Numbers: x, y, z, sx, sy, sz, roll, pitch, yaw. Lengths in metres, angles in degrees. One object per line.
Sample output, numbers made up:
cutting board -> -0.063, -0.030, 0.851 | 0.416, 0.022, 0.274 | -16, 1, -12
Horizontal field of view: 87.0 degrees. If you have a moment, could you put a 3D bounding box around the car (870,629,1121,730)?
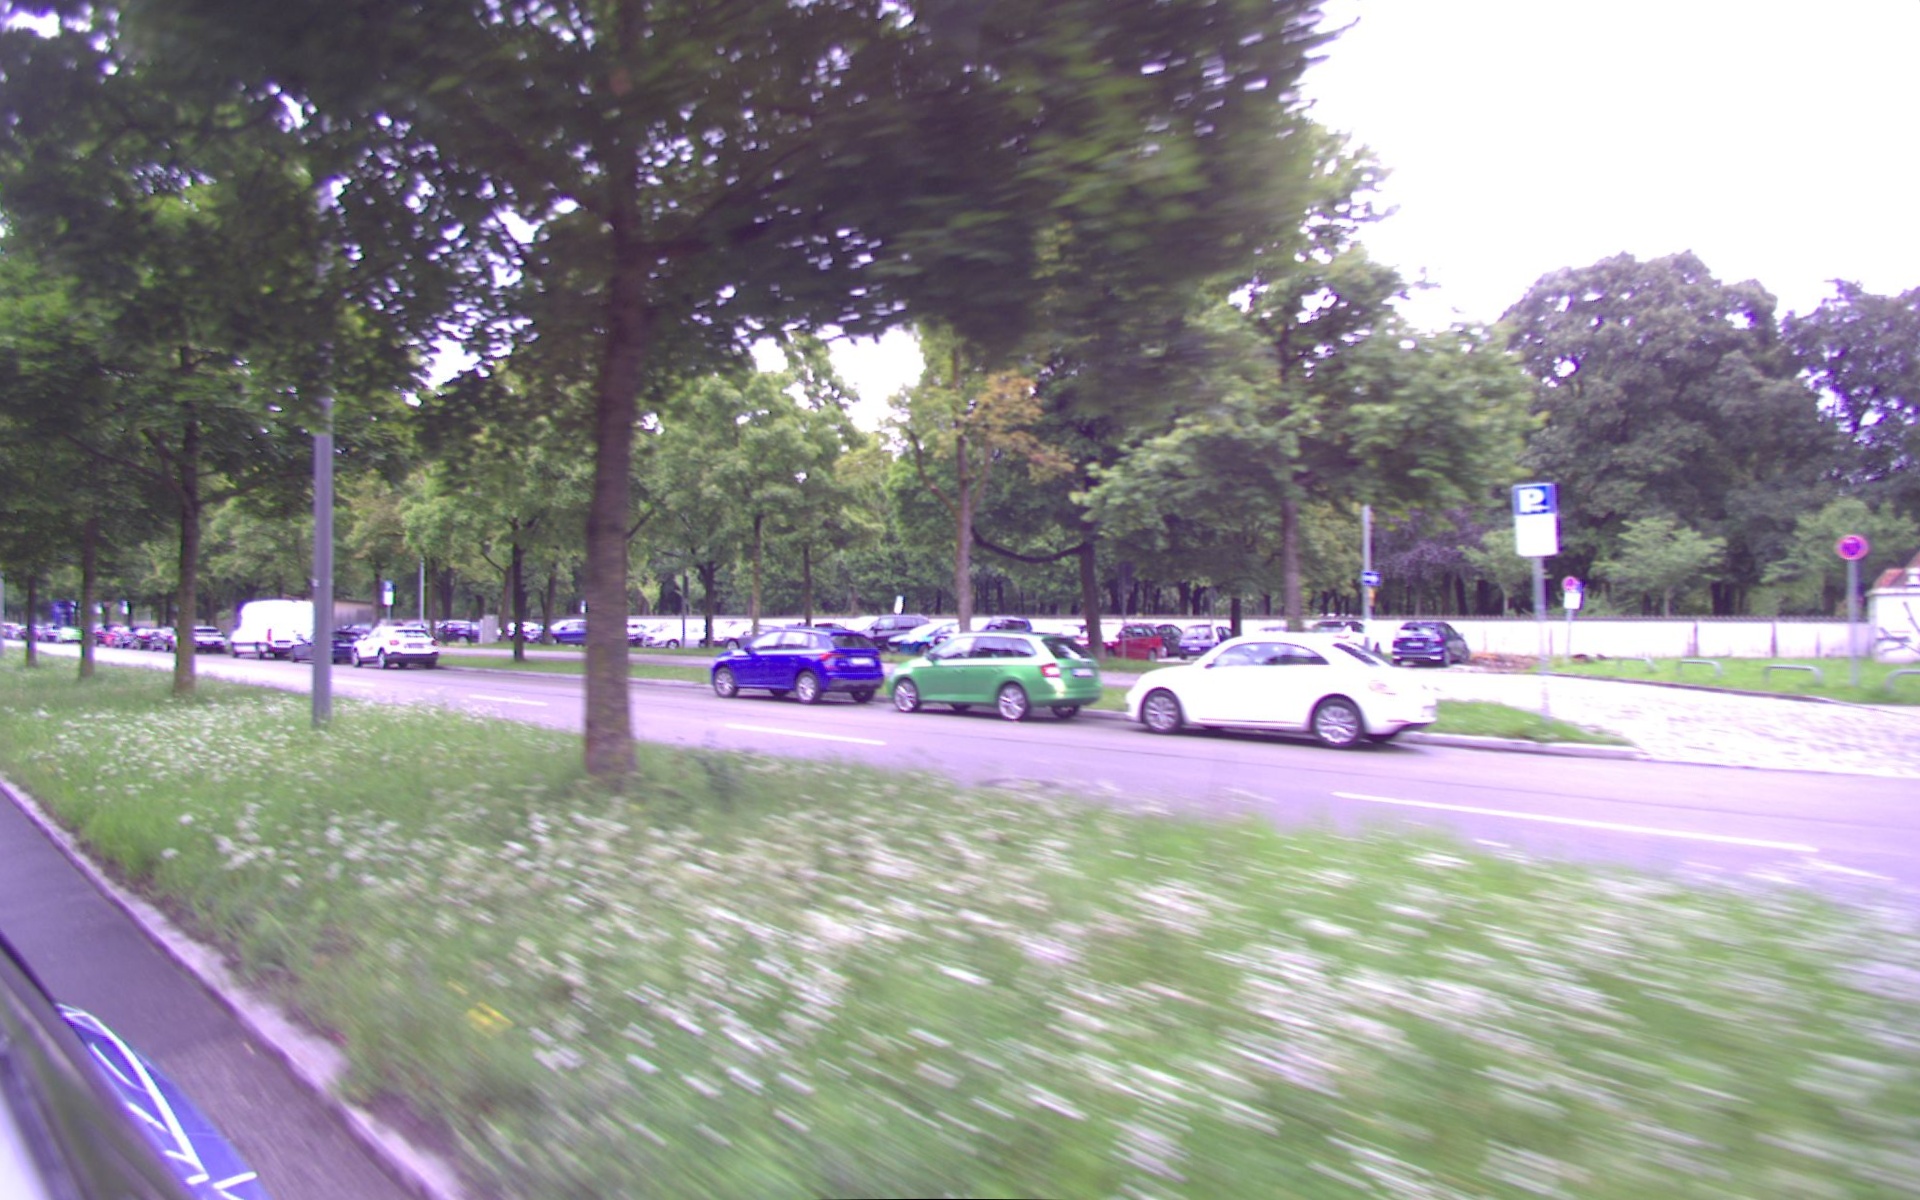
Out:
car -> 0.525, 1.321, 17.645 | 4.312, 1.549, 1.621 | -2, -5, 41

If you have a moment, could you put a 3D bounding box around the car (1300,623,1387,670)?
car -> 14.451, 1.708, 38.029 | 1.814, 1.548, 3.946 | -2, -1, 40

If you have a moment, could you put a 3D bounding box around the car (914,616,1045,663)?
car -> 0.712, 1.354, 35.085 | 4.293, 1.516, 2.004 | 1, -2, -38

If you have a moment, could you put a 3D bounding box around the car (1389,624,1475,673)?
car -> 17.001, 1.696, 36.385 | 1.814, 1.548, 3.946 | -2, -1, 40

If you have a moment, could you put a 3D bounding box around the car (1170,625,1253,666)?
car -> 10.641, 1.886, 42.669 | 1.814, 1.548, 3.946 | -2, -1, 40

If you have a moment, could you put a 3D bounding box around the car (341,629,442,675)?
car -> -20.577, 1.823, 36.584 | 4.139, 1.502, 1.838 | 0, -1, 40

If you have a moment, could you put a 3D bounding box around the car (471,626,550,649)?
car -> -26.870, 2.222, 60.616 | 1.815, 1.349, 3.942 | -2, -2, 44

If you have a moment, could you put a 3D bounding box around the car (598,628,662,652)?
car -> -23.393, 2.803, 71.783 | 3.940, 1.666, 1.771 | 2, -2, -44

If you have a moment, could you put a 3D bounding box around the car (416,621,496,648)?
car -> -30.375, 2.084, 61.105 | 1.814, 1.582, 3.943 | -2, -2, 43

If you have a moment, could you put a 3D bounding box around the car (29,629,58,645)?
car -> -86.590, 3.497, 95.593 | 3.686, 1.433, 1.632 | -2, -5, 42

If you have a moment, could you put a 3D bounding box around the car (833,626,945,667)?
car -> -2.758, 1.802, 39.674 | 3.934, 1.516, 2.005 | 1, -2, -36

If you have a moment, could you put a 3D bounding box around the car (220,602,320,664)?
car -> -32.225, 1.584, 47.132 | 7.102, 2.664, 2.117 | -2, -4, 42

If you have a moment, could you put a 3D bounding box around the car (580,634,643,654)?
car -> -25.317, 3.168, 73.600 | 3.940, 1.383, 1.879 | 2, -2, -44

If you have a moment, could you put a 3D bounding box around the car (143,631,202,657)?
car -> -46.394, 2.573, 59.593 | 3.995, 1.459, 1.804 | -2, -4, 39

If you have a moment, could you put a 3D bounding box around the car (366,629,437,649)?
car -> -38.344, 2.661, 69.555 | 1.737, 1.293, 3.951 | -1, -2, 36

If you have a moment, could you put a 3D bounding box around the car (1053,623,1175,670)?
car -> 4.956, 1.431, 32.080 | 1.758, 1.403, 4.367 | -2, -2, 41

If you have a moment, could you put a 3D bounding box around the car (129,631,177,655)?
car -> -51.099, 2.703, 64.052 | 4.001, 1.420, 1.801 | -2, -4, 44

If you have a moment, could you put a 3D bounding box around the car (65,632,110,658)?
car -> -63.275, 3.237, 73.357 | 4.236, 1.712, 1.803 | 0, -1, 40

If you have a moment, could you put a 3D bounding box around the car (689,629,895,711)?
car -> -3.573, 1.429, 21.204 | 4.310, 1.549, 1.867 | -2, -5, 40

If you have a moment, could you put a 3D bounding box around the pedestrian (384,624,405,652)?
pedestrian -> -30.773, 2.036, 55.055 | 0.856, 1.507, 0.786 | -2, -2, 42

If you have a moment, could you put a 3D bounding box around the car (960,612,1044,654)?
car -> 2.224, 1.677, 52.283 | 1.999, 2.050, 4.459 | -1, -2, 41

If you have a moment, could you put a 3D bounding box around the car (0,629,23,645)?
car -> -107.915, 4.201, 114.761 | 4.529, 1.784, 1.838 | -2, -3, 39

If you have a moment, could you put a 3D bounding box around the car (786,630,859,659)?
car -> -7.973, 2.573, 58.801 | 3.940, 1.608, 1.771 | 2, -2, -44

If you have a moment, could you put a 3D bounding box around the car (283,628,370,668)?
car -> -26.185, 1.946, 41.767 | 4.249, 1.502, 1.838 | 0, -1, 40

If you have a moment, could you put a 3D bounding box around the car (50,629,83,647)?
car -> -75.842, 3.254, 85.898 | 3.999, 1.511, 1.622 | -2, -4, 43

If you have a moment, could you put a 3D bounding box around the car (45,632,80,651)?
car -> -81.663, 3.759, 92.096 | 4.454, 1.643, 1.802 | -2, -3, 41

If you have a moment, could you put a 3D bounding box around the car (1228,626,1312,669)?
car -> 12.531, 1.866, 40.755 | 1.814, 1.548, 3.946 | -2, -1, 40

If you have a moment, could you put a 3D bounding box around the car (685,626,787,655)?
car -> -9.875, 1.760, 44.785 | 1.784, 1.219, 4.126 | -2, -3, 44

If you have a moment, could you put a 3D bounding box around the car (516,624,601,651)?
car -> -22.041, 2.052, 55.651 | 3.940, 1.449, 1.816 | 2, -2, -44

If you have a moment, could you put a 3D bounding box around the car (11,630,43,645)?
car -> -94.853, 3.850, 102.861 | 3.784, 1.457, 1.803 | -2, -5, 39

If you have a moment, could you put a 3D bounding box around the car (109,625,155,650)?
car -> -55.322, 2.482, 67.608 | 4.112, 1.611, 1.801 | -2, -2, 43

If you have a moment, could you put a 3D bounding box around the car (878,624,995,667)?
car -> -0.870, 1.683, 37.723 | 3.934, 1.516, 2.005 | 1, -2, -36

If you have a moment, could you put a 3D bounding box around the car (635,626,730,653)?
car -> -12.987, 1.837, 47.506 | 1.784, 1.219, 3.942 | -2, -3, 44

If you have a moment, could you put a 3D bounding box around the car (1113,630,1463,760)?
car -> 4.441, 1.232, 14.118 | 4.312, 1.549, 1.742 | -2, -5, 41

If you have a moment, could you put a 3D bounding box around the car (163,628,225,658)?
car -> -42.500, 2.381, 56.133 | 4.296, 1.539, 1.803 | 0, -3, 40
